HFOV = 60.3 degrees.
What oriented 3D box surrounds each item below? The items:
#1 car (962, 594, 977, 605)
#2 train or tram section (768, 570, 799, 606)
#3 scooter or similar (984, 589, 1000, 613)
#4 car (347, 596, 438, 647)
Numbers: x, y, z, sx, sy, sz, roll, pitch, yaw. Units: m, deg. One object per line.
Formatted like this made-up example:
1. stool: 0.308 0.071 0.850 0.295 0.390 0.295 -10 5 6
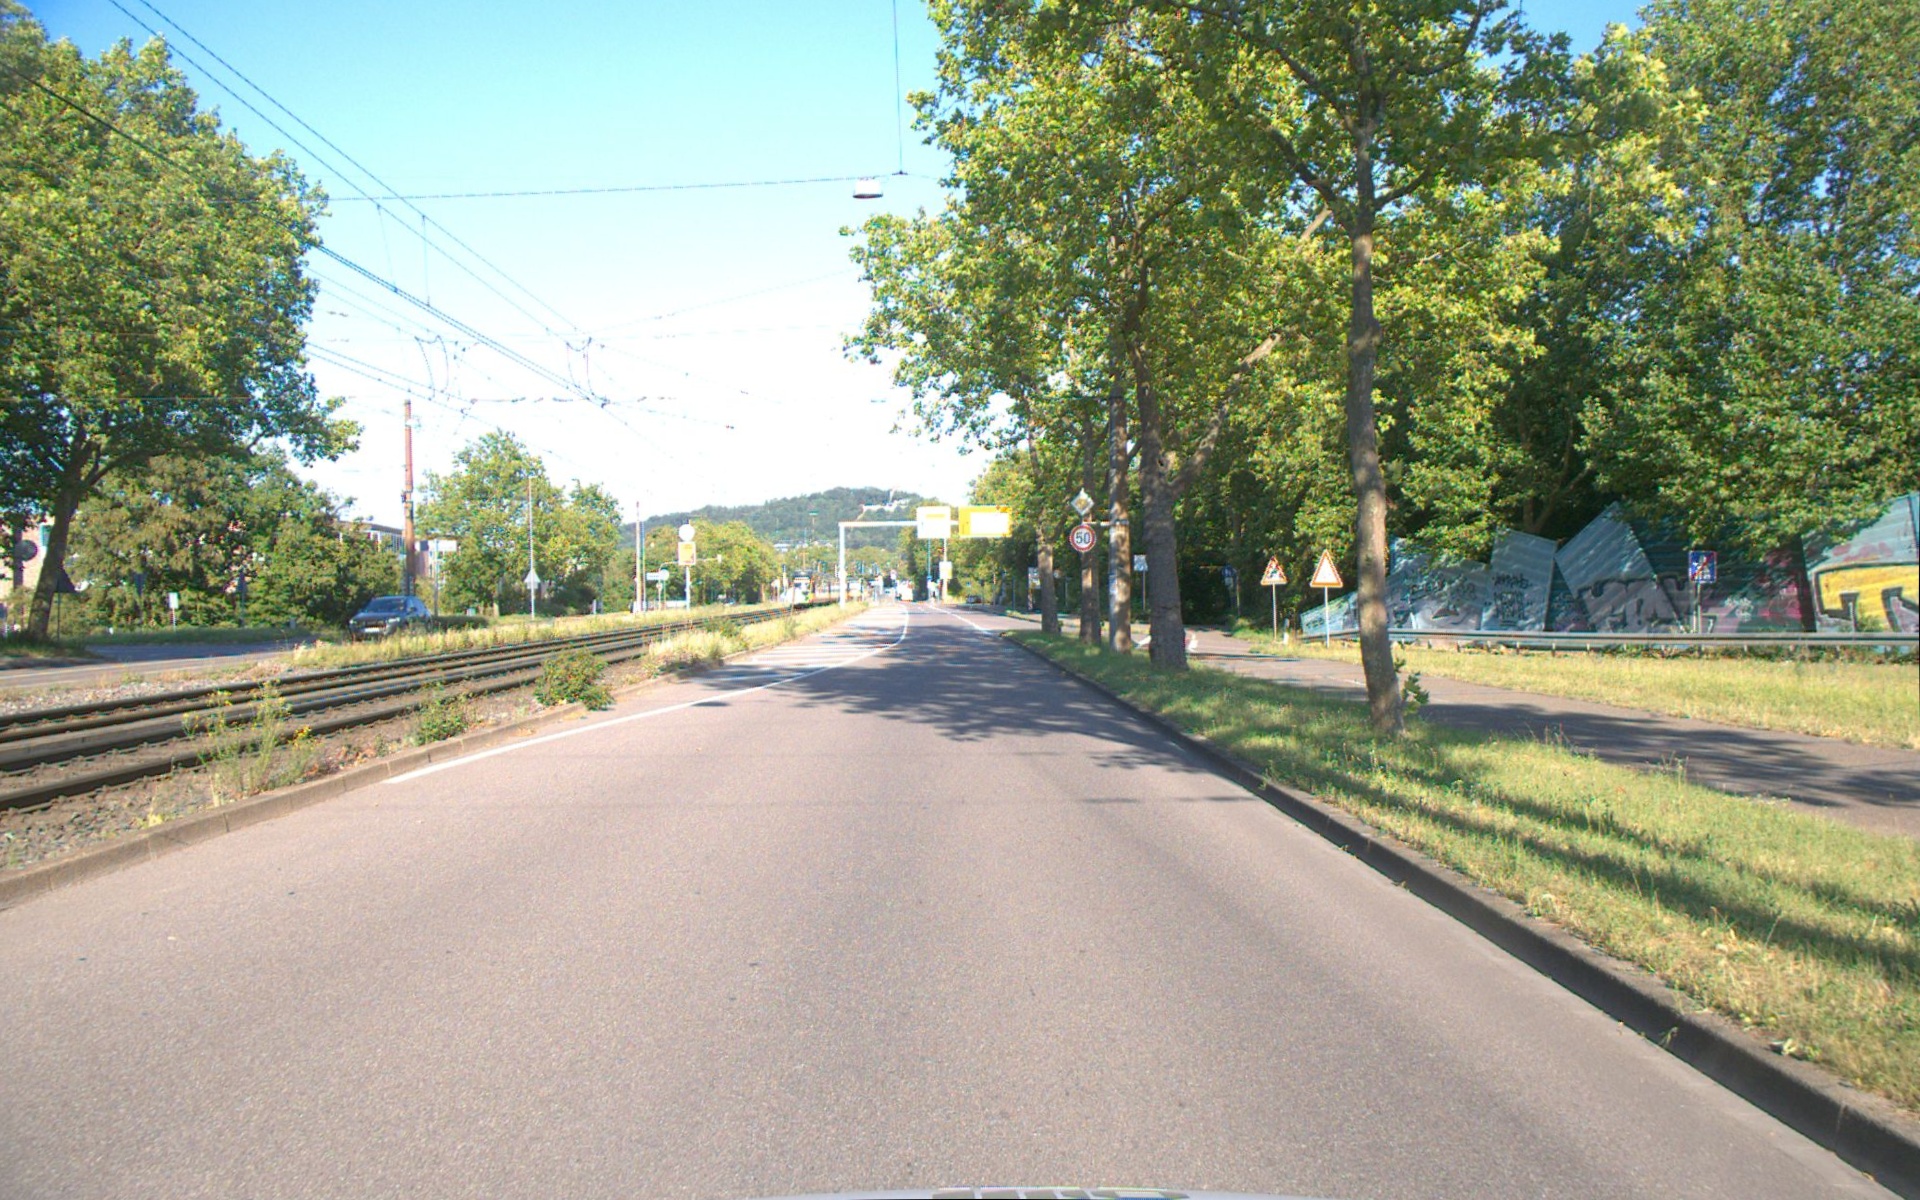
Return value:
1. car: 1.392 -0.129 248.051 2.042 1.593 3.957 0 0 4
2. train or tram section: -20.120 -1.354 189.042 2.748 3.971 12.325 0 0 -3
3. scooter or similar: 3.778 0.139 193.981 1.647 2.763 4.867 0 0 -2
4. car: -20.940 0.762 61.229 1.861 1.724 4.937 -2 0 -4
